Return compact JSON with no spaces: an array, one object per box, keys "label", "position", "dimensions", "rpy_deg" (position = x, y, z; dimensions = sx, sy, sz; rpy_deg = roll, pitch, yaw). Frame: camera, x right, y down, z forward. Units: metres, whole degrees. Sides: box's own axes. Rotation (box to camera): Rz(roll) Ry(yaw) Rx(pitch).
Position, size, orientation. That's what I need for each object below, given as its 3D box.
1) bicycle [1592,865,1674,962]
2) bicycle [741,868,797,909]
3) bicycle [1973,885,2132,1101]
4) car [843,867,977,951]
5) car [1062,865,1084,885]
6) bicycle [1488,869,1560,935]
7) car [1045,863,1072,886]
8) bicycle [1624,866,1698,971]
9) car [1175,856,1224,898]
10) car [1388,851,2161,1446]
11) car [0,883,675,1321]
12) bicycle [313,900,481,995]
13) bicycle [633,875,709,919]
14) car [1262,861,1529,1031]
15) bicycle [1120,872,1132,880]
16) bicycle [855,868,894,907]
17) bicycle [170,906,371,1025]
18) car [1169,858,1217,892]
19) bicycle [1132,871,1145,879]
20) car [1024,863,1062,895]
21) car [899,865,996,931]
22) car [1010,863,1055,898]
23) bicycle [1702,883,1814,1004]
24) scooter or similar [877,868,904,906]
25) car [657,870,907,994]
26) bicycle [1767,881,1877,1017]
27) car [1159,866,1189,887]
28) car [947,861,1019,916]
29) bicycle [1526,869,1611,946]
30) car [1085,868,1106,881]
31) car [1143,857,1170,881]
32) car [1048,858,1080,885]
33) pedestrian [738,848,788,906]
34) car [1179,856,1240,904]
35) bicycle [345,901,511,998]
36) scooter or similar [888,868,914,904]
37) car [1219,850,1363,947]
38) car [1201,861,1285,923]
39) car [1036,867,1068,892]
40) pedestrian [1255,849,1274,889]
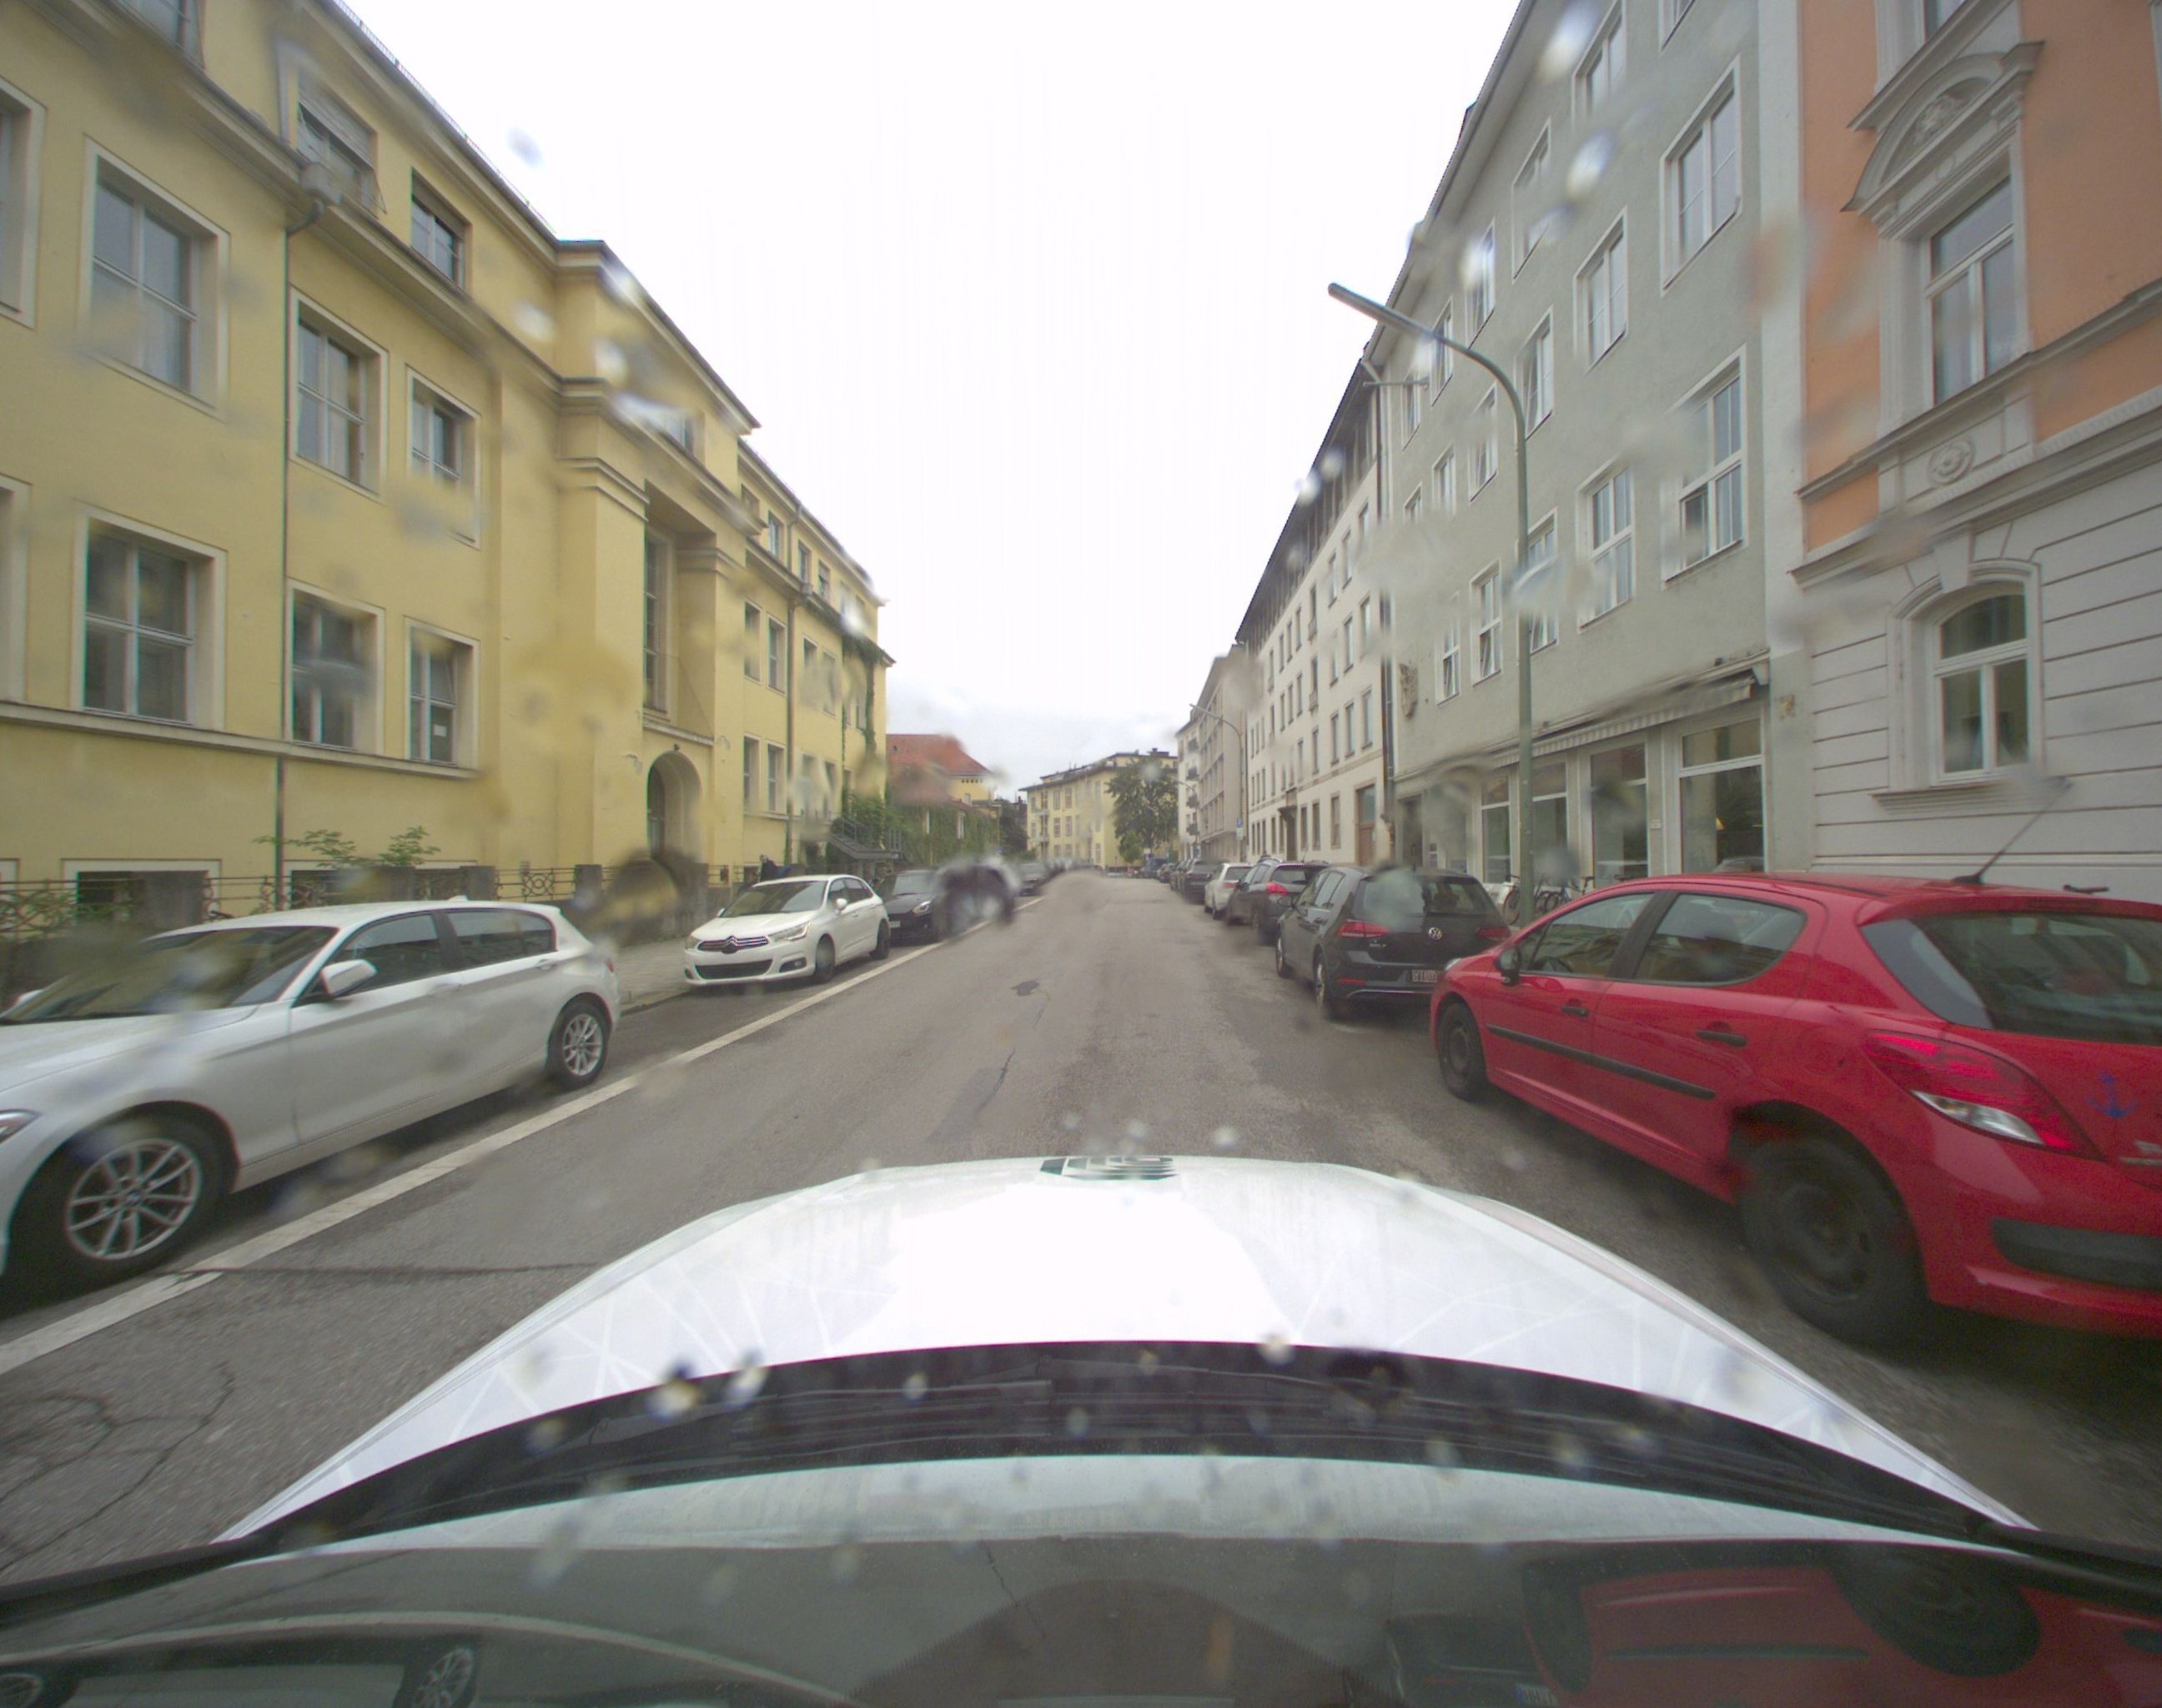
[{"label":"bicycle","position":[7.569,0.786,11.211],"dimensions":[0.247,1.255,1.233],"rpy_deg":[-1,-1,-1]},{"label":"bicycle","position":[-10.103,1.117,26.373],"dimensions":[1.618,1.268,0.527],"rpy_deg":[-1,-1,4]},{"label":"bicycle","position":[6.517,0.819,5.501],"dimensions":[2.103,1.139,0.577],"rpy_deg":[-1,-1,-41]},{"label":"car","position":[-3.533,1.086,17.635],"dimensions":[1.692,1.497,4.152],"rpy_deg":[-4,-1,3]},{"label":"car","position":[-0.685,1.885,72.246],"dimensions":[1.690,1.643,4.492],"rpy_deg":[-3,-1,2]},{"label":"bicycle","position":[8.349,0.871,15.433],"dimensions":[0.382,1.158,1.951],"rpy_deg":[-1,-1,3]},{"label":"car","position":[-1.511,1.409,56.502],"dimensions":[1.585,1.441,4.020],"rpy_deg":[-3,-1,2]},{"label":"bicycle","position":[7.323,0.783,10.311],"dimensions":[0.247,1.255,0.916],"rpy_deg":[-1,-1,-1]},{"label":"car","position":[4.905,0.938,34.220],"dimensions":[1.638,1.589,4.638],"rpy_deg":[2,-1,4]},{"label":"car","position":[3.183,0.784,4.156],"dimensions":[1.681,1.500,4.147],"rpy_deg":[2,-1,1]},{"label":"car","position":[-4.573,0.983,4.848],"dimensions":[1.787,1.429,4.666],"rpy_deg":[-3,-1,2]},{"label":"bicycle","position":[-8.762,1.160,10.526],"dimensions":[0.533,1.063,1.646],"rpy_deg":[0,-1,13]},{"label":"bicycle","position":[-10.369,1.077,20.614],"dimensions":[1.653,1.050,0.425],"rpy_deg":[-1,-1,-4]},{"label":"car","position":[3.189,0.806,9.207],"dimensions":[1.679,1.402,4.370],"rpy_deg":[0,0,5]},{"label":"bicycle","position":[6.892,3.308,125.120],"dimensions":[1.903,1.201,0.599],"rpy_deg":[-1,-2,40]},{"label":"bicycle","position":[-7.236,1.151,28.608],"dimensions":[0.678,1.328,2.115],"rpy_deg":[0,-1,4]},{"label":"bicycle","position":[-8.539,1.127,8.684],"dimensions":[0.573,1.063,1.637],"rpy_deg":[0,-1,-5]},{"label":"car","position":[5.336,0.998,39.464],"dimensions":[1.795,1.484,5.323],"rpy_deg":[3,-1,3]},{"label":"bicycle","position":[8.773,3.210,123.825],"dimensions":[1.907,1.201,0.598],"rpy_deg":[0,-1,17]},{"label":"car","position":[-2.088,1.391,46.179],"dimensions":[1.717,1.630,4.467],"rpy_deg":[-3,-1,2]},{"label":"car","position":[-3.604,1.161,22.758],"dimensions":[1.697,1.502,4.497],"rpy_deg":[-5,-1,2]},{"label":"car","position":[-2.405,1.326,41.329],"dimensions":[1.782,1.587,4.819],"rpy_deg":[-3,-1,2]},{"label":"bicycle","position":[6.957,0.854,8.337],"dimensions":[1.857,1.067,0.510],"rpy_deg":[0,-1,-39]},{"label":"scooter or similar","position":[-7.159,1.213,30.623],"dimensions":[0.557,1.369,1.502],"rpy_deg":[-1,-1,4]},{"label":"car","position":[-4.215,1.019,12.426],"dimensions":[1.777,1.432,4.656],"rpy_deg":[-3,-1,3]},{"label":"bicycle","position":[6.983,0.828,7.738],"dimensions":[0.614,1.089,1.826],"rpy_deg":[-2,-1,38]},{"label":"car","position":[6.876,1.642,60.521],"dimensions":[1.739,1.388,4.955],"rpy_deg":[2,-1,2]},{"label":"car","position":[-3.238,1.117,27.718],"dimensions":[1.739,1.634,4.856],"rpy_deg":[-2,-1,1]},{"label":"bicycle","position":[8.009,0.843,13.452],"dimensions":[0.394,1.176,1.816],"rpy_deg":[0,-1,3]},{"label":"car","position":[2.121,3.087,124.404],"dimensions":[1.767,1.875,4.351],"rpy_deg":[4,-2,-18]},{"label":"car","position":[8.094,1.683,87.518],"dimensions":[2.074,2.234,5.238],"rpy_deg":[4,-3,-3]},{"label":"car","position":[-1.232,1.325,61.959],"dimensions":[1.878,1.890,4.779],"rpy_deg":[-3,-1,4]},{"label":"pedestrian","position":[-9.565,0.682,24.525],"dimensions":[0.894,1.719,1.064],"rpy_deg":[-2,-1,19]},{"label":"car","position":[4.529,0.905,29.230],"dimensions":[1.831,1.522,4.715],"rpy_deg":[1,-1,5]},{"label":"bicycle","position":[-8.241,1.159,10.369],"dimensions":[0.533,1.063,1.646],"rpy_deg":[0,-1,13]},{"label":"scooter or similar","position":[-7.096,1.245,32.175],"dimensions":[0.557,1.369,1.502],"rpy_deg":[-1,-1,4]},{"label":"car","position":[3.893,0.766,15.853],"dimensions":[1.700,1.592,4.361],"rpy_deg":[1,-1,0]},{"label":"car","position":[4.264,0.936,22.041],"dimensions":[1.665,1.429,4.535],"rpy_deg":[1,0,4]},{"label":"car","position":[-1.768,1.596,51.244],"dimensions":[1.597,1.430,4.253],"rpy_deg":[-3,-1,2]},{"label":"pedestrian","position":[8.276,0.687,36.753],"dimensions":[0.719,1.763,0.905],"rpy_deg":[0,-3,4]}]
